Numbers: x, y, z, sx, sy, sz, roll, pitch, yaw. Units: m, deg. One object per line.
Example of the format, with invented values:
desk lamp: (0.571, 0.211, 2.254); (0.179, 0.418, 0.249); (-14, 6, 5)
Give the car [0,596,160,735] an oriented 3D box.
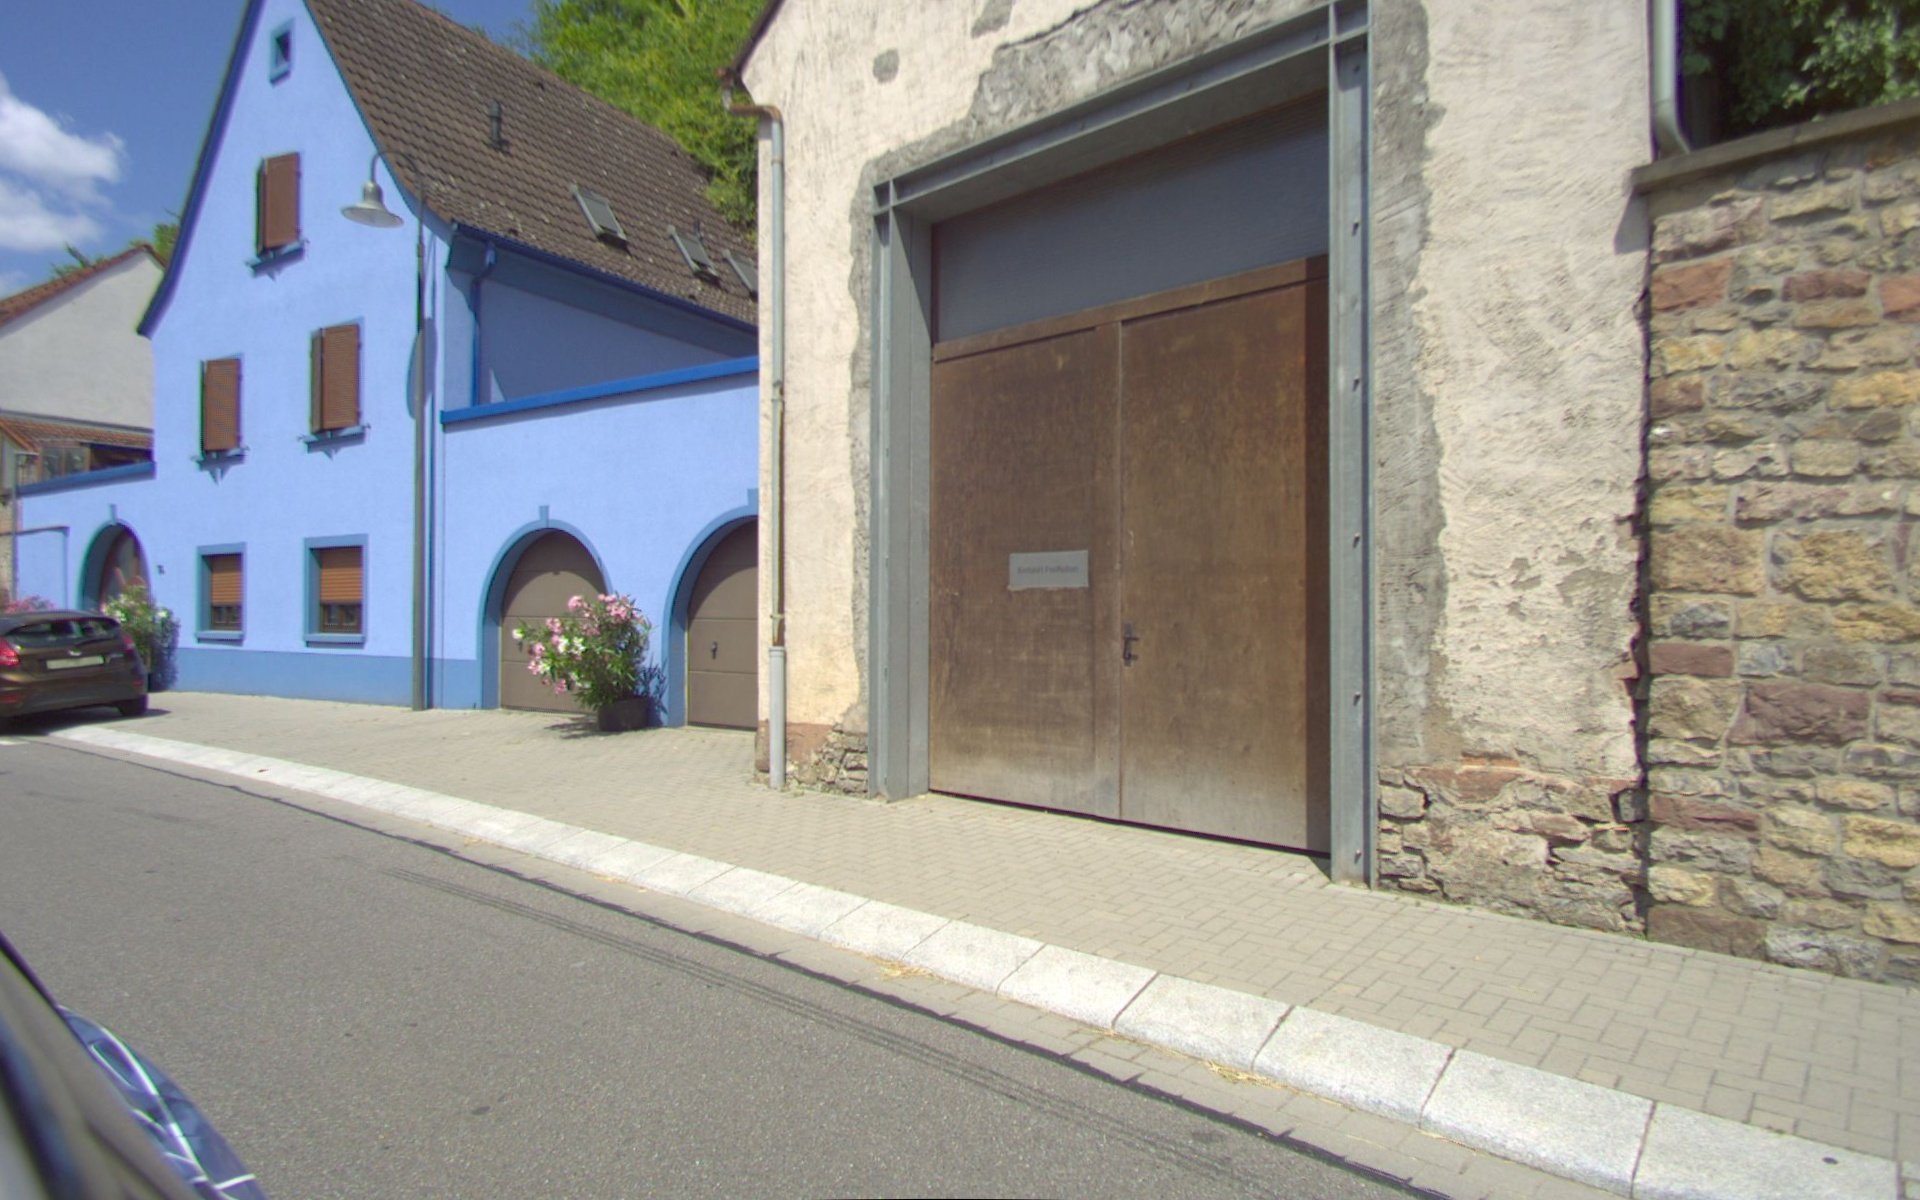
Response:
car: (-12.452, 0.814, 13.335); (3.842, 1.541, 1.705); (-2, 2, 31)
